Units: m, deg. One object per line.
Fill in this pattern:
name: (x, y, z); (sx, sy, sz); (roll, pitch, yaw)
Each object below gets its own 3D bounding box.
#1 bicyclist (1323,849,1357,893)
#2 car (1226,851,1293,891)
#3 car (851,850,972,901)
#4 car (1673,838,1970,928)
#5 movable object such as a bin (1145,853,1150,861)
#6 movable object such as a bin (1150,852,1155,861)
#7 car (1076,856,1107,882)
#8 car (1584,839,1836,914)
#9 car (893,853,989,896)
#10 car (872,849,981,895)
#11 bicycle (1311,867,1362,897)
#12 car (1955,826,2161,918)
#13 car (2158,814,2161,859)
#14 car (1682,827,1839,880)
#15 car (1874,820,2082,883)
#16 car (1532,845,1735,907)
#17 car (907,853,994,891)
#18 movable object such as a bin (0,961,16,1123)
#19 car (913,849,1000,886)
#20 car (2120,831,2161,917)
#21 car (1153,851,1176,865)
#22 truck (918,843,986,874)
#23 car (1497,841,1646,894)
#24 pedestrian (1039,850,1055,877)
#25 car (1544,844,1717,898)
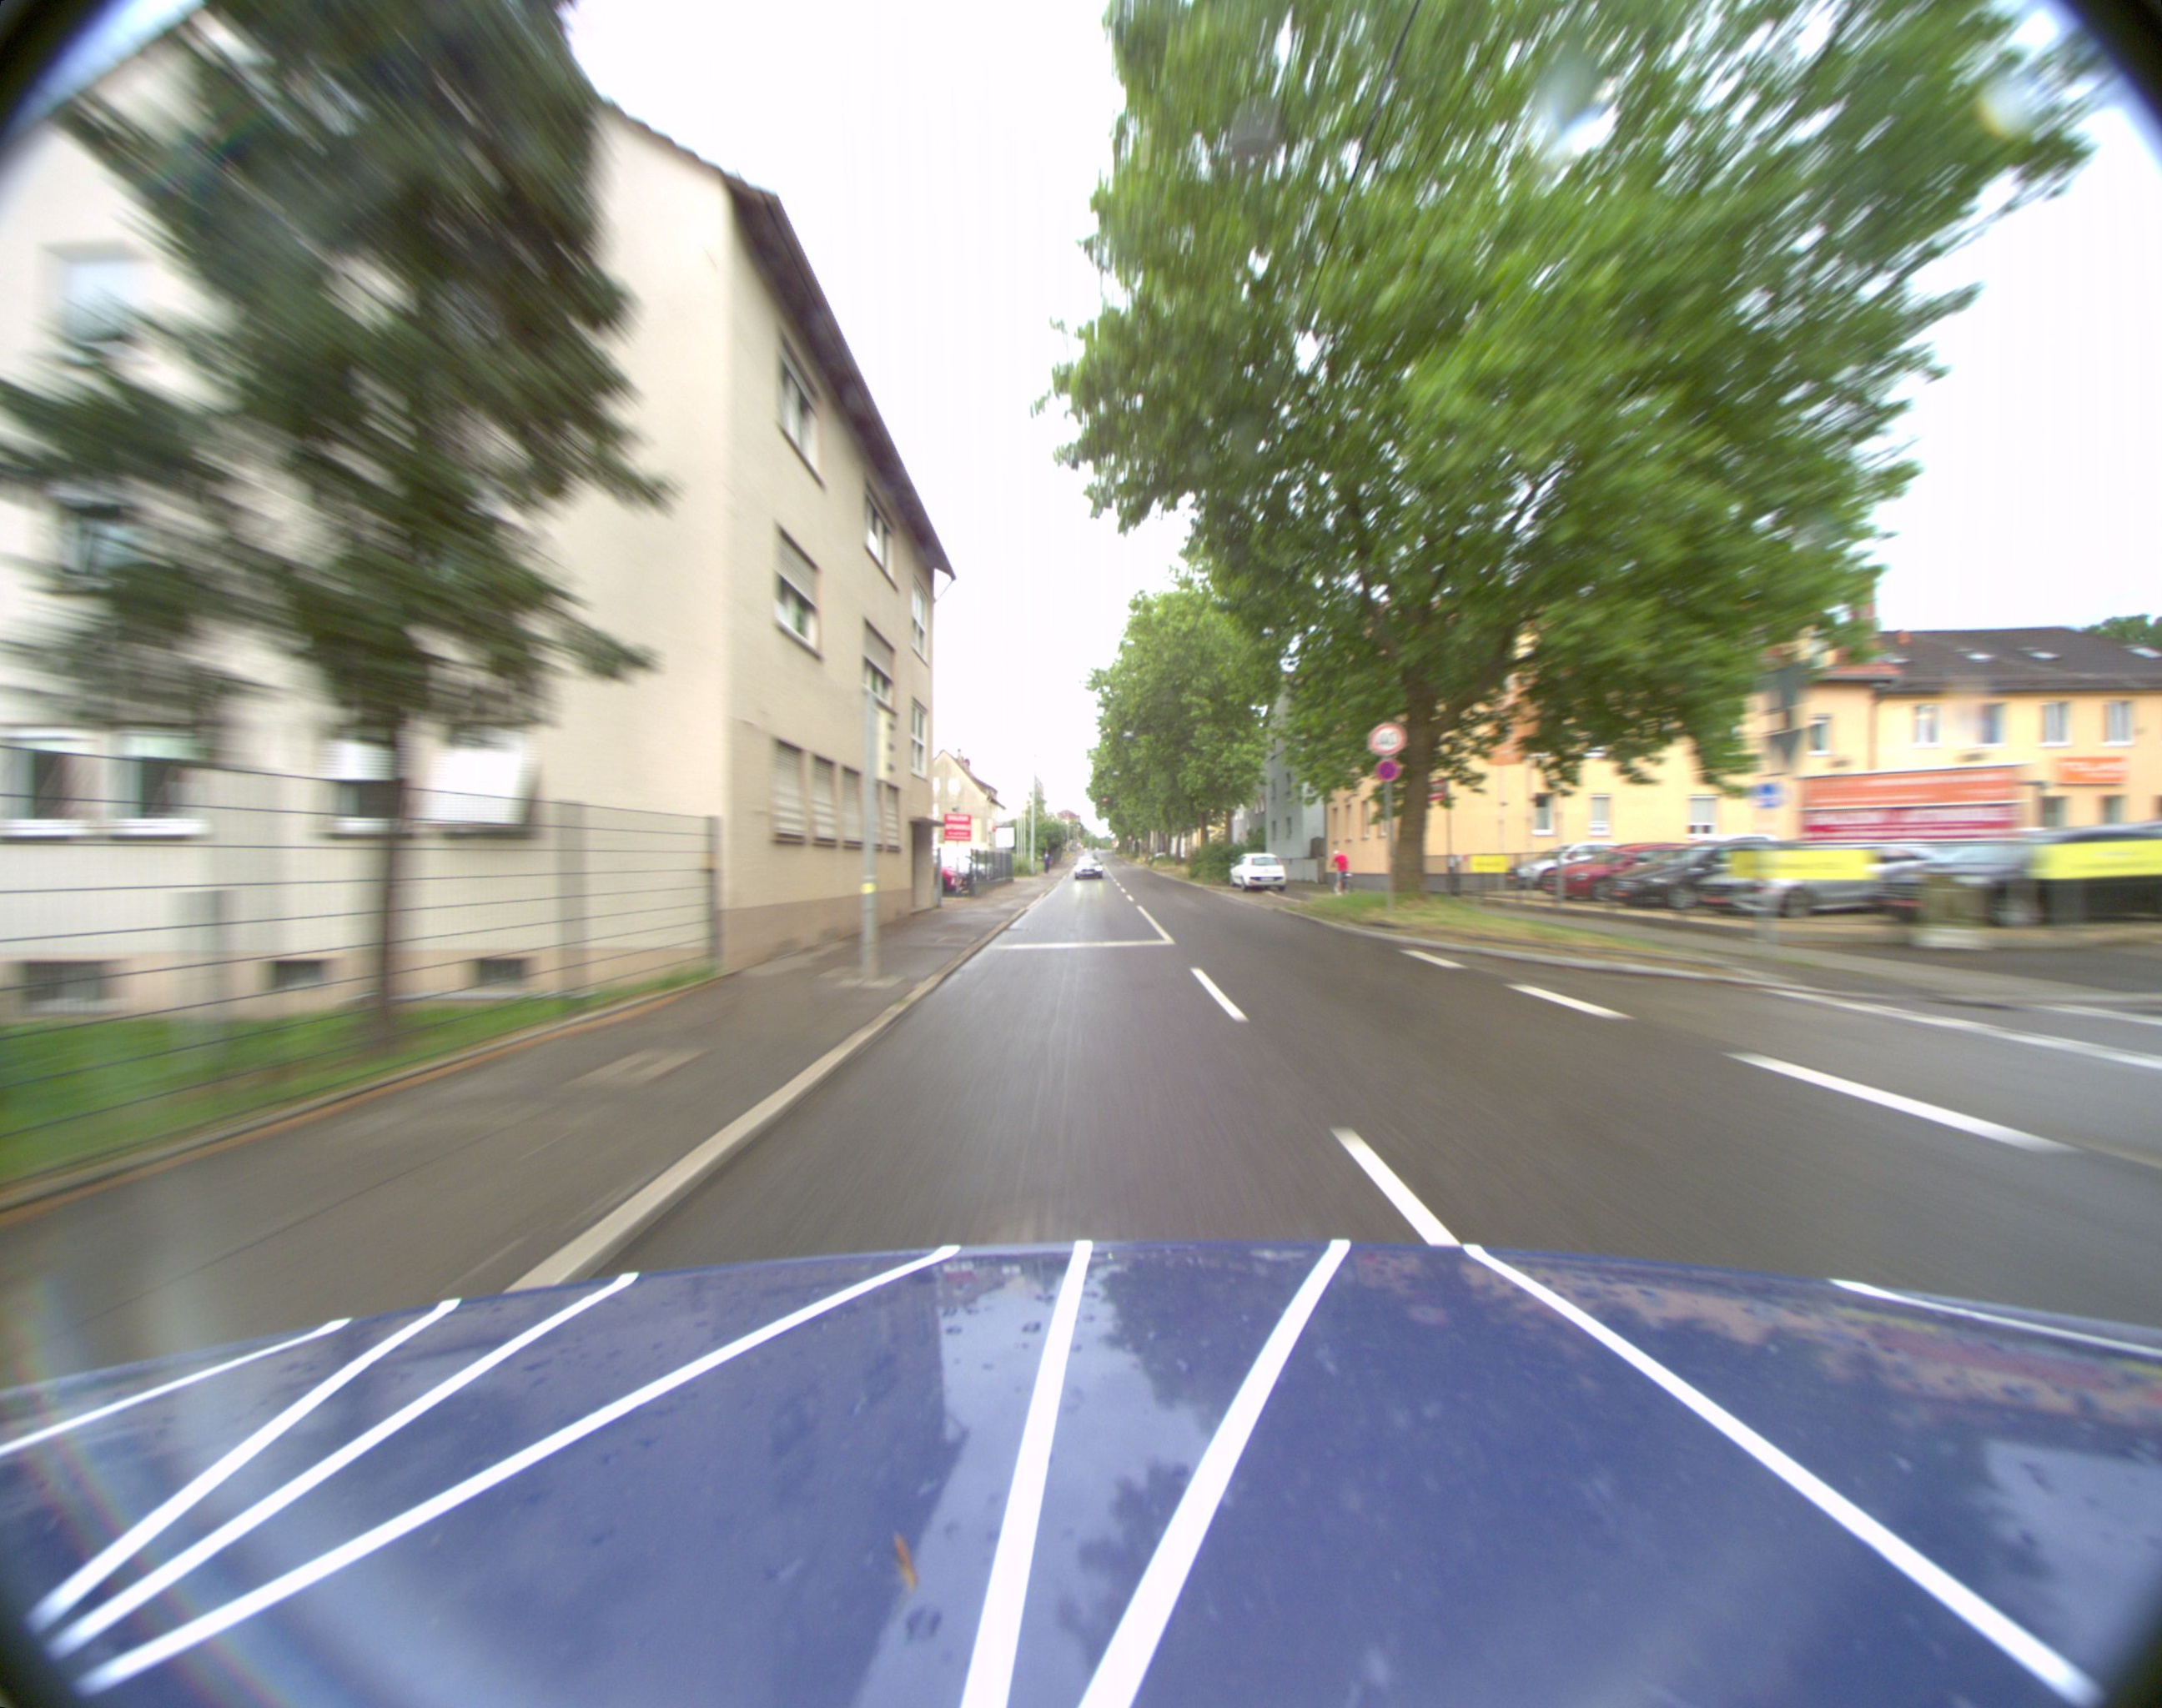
bicyclist: (9.653, 0.622, 28.305); (0.836, 1.544, 0.815); (-3, 2, -18)
car: (7.338, 0.664, 31.670); (1.790, 1.542, 4.352); (-1, 0, 0)
car: (-6.579, 0.818, 29.801); (4.238, 1.726, 1.869); (-2, 2, 1)
car: (15.167, 0.544, 15.746); (4.218, 1.530, 1.982); (-3, 2, -1)
movable object such as a bin: (7.736, 0.327, 88.509); (0.513, 0.922, 0.581); (0, 2, 1)
movable object such as a bin: (8.300, 0.279, 88.576); (0.536, 1.051, 0.762); (0, 2, 1)
car: (0.663, 1.000, 50.257); (1.949, 1.644, 3.860); (-1, -1, 0)
car: (14.825, 0.511, 18.141); (4.216, 1.529, 2.001); (-2, 0, 5)
car: (-6.486, 0.931, 35.568); (4.077, 1.726, 1.869); (-2, 2, 1)
car: (-6.606, 0.761, 32.858); (4.238, 1.726, 1.869); (-2, 2, 1)
bicycle: (9.590, 1.027, 28.597); (0.556, 0.990, 2.262); (-3, 2, -18)
car: (20.858, 0.310, 15.401); (3.997, 1.643, 1.999); (-2, 2, 0)
car: (36.468, -0.620, 23.455); (3.812, 1.443, 1.704); (-2, 2, 3)
car: (23.822, -0.008, 26.740); (3.858, 1.605, 1.736); (-3, 0, 3)
car: (27.238, -0.099, 23.185); (3.996, 1.674, 1.886); (-2, 2, 3)
car: (15.180, 0.591, 21.077); (4.108, 1.489, 1.958); (-2, 0, 3)
car: (-6.507, 0.879, 38.101); (3.958, 1.714, 1.791); (-2, 1, 1)
movable object such as a bin: (-8.613, 1.427, 5.029); (1.331, 1.173, 1.218); (-5, 0, 1)
car: (-6.662, 0.706, 41.000); (4.313, 1.758, 2.000); (-2, 2, 1)
car: (21.006, 0.299, 12.848); (4.178, 1.488, 1.999); (-2, 2, -1)
car: (8.822, 0.383, 80.902); (1.760, 1.318, 4.537); (-2, 1, -2)
truck: (-12.014, 0.420, 70.803); (5.859, 2.623, 2.043); (-3, 2, 1)
car: (17.204, 0.447, 26.785); (3.996, 1.605, 1.782); (-3, 0, 3)
pedestrian: (-2.425, 0.693, 54.665); (1.045, 1.886, 0.900); (-1, 2, 1)
car: (17.155, 0.515, 23.895); (3.996, 1.456, 1.887); (-3, 0, 3)
